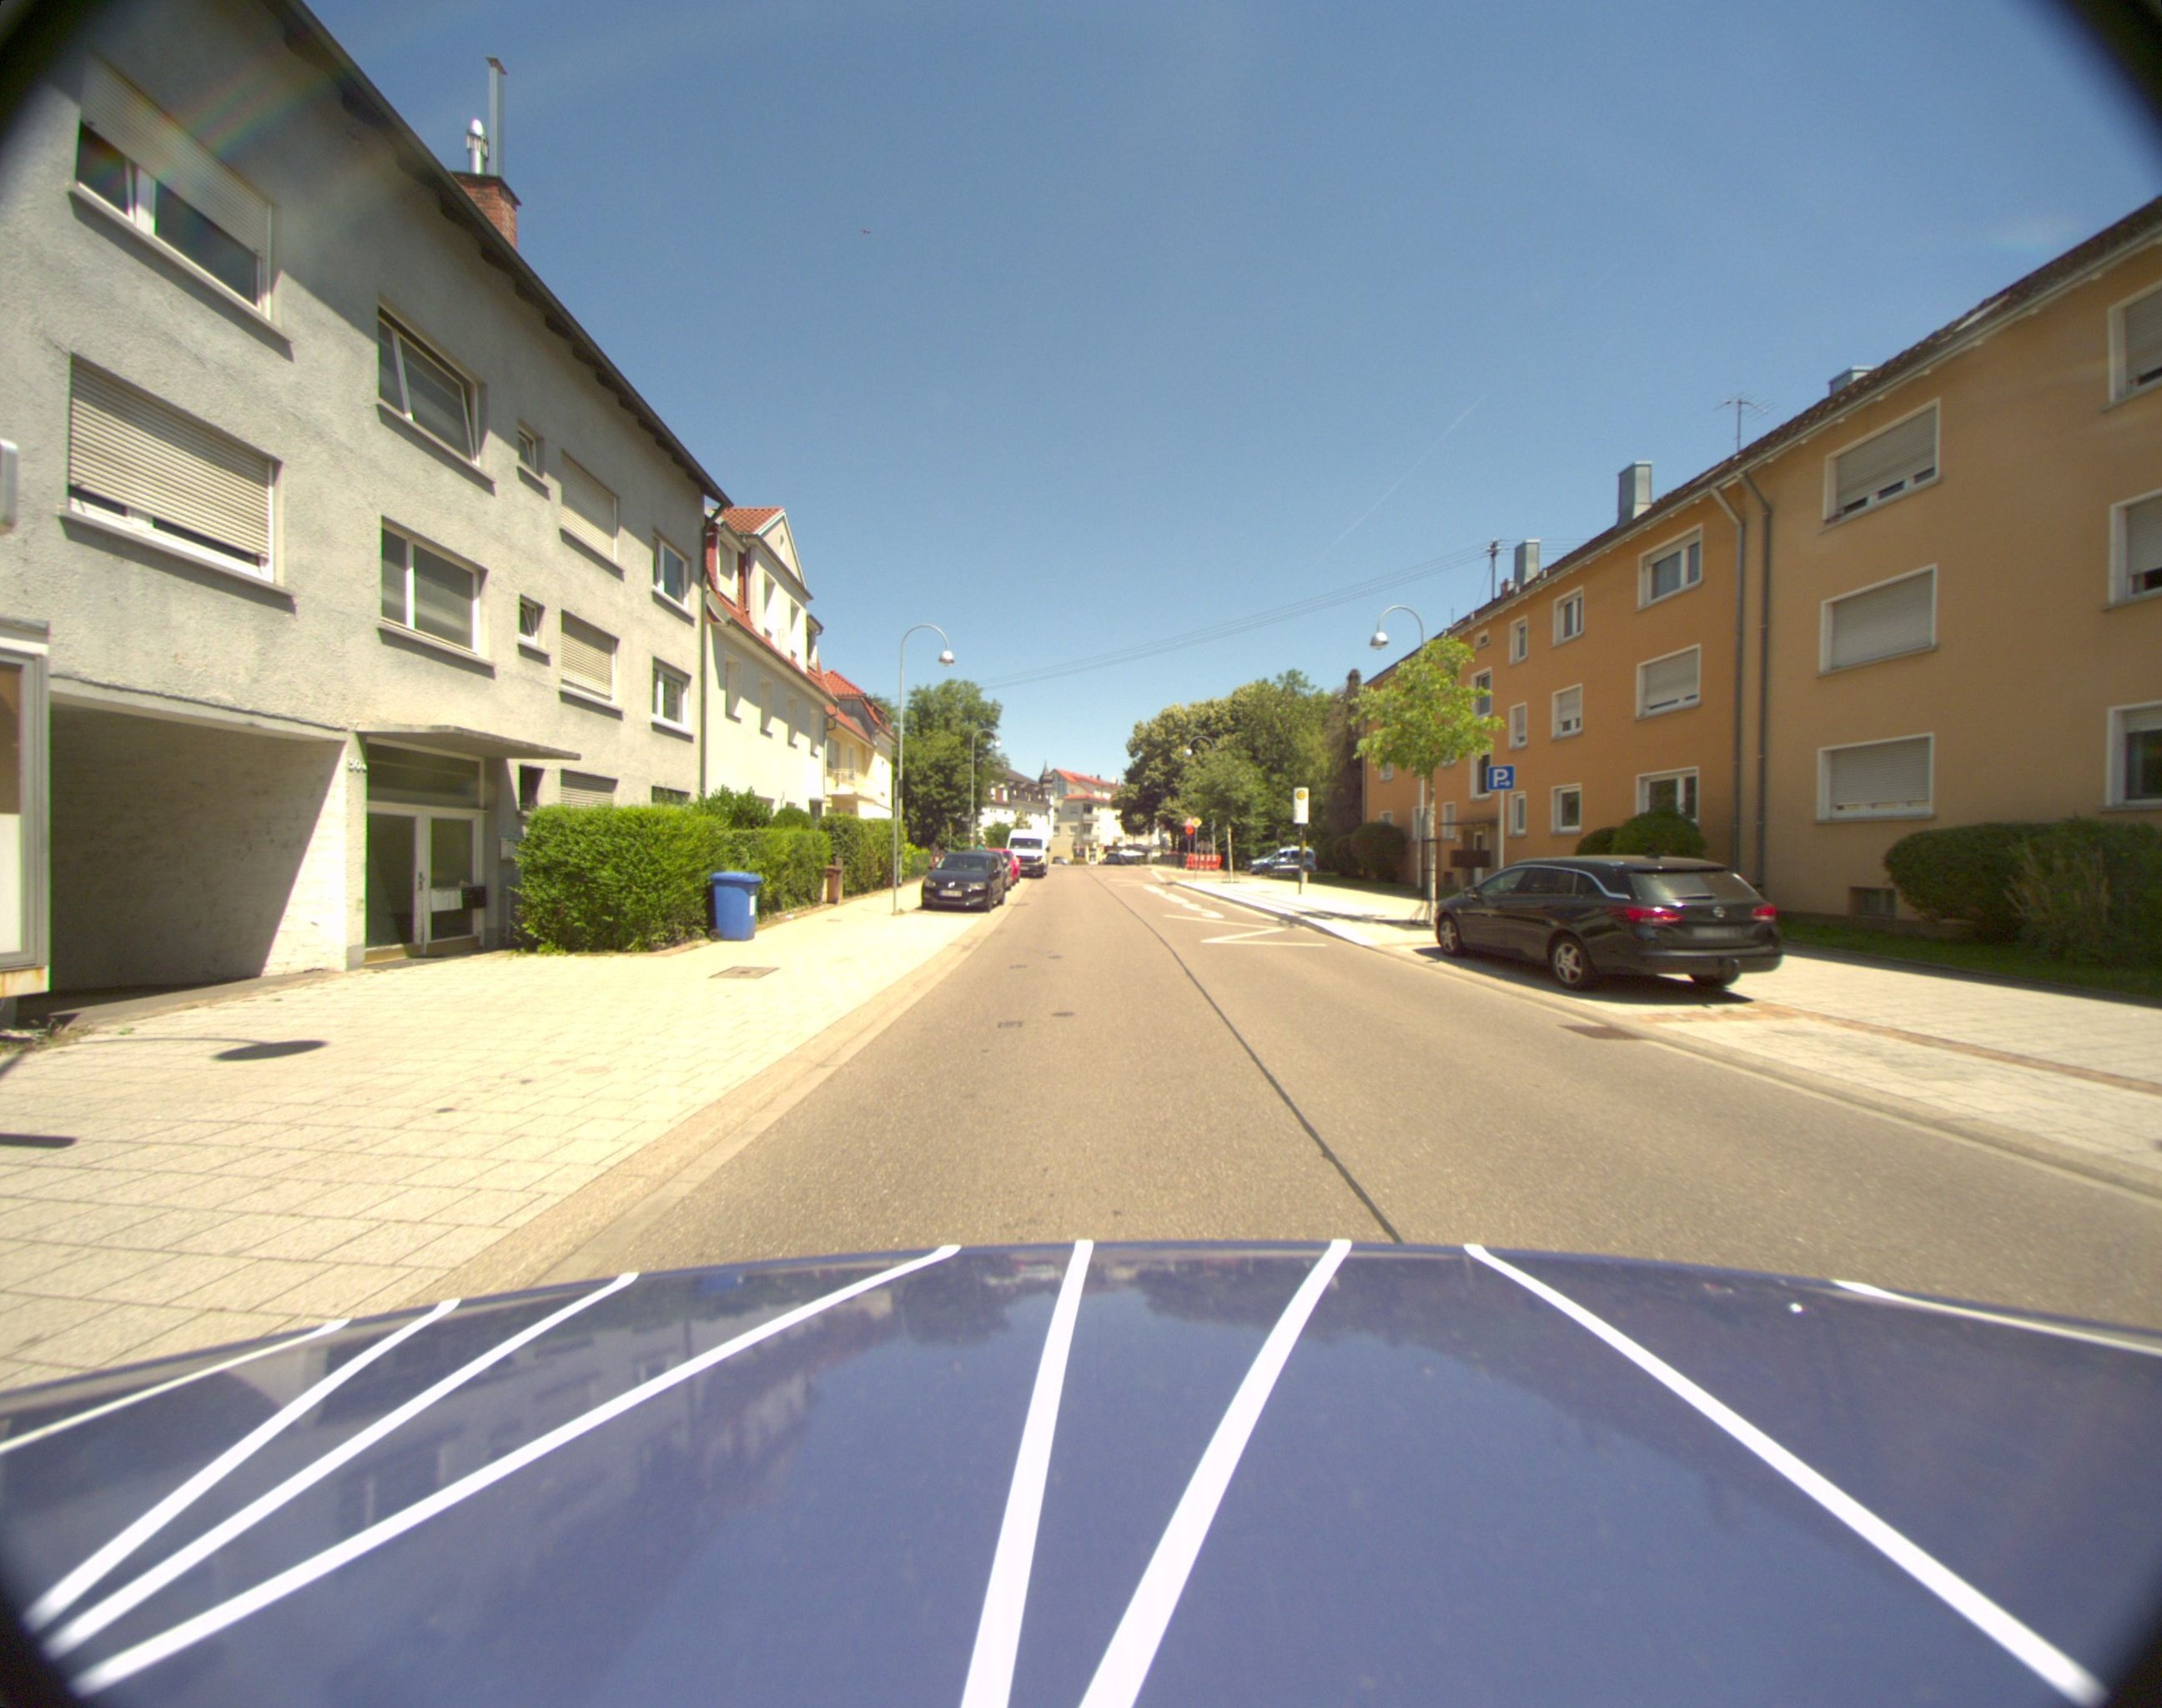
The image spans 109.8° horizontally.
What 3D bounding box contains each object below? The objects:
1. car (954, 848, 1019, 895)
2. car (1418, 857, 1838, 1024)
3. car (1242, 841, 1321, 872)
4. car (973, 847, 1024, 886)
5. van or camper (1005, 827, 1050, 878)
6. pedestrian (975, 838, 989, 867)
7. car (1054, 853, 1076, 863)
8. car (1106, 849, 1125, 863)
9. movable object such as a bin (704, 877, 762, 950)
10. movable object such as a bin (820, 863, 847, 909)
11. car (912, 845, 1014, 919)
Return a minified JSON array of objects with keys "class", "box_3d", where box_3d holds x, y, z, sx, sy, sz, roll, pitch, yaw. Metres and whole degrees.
[{"class":"car","box_3d":[-3.331,0.558,27.515,1.808,1.466,4.719,3,1,-1]},{"class":"car","box_3d":[6.264,0.834,9.557,1.862,1.498,4.561,-2,0,-2]},{"class":"car","box_3d":[12.504,0.155,47.491,4.439,1.863,1.817,1,1,-11]},{"class":"car","box_3d":[-3.429,0.475,32.146,1.808,1.521,4.149,0,1,-1]},{"class":"van or camper","box_3d":[-2.748,-0.129,40.594,2.114,2.453,6.173,2,1,-2]},{"class":"pedestrian","box_3d":[-5.981,-0.083,45.913,0.522,1.696,0.802,3,0,-21]},{"class":"car","box_3d":[-2.468,0.624,117.622,3.038,1.444,1.570,-2,0,21]},{"class":"car","box_3d":[3.790,0.211,85.201,1.998,1.498,4.288,0,0,1]},{"class":"movable object such as a bin","box_3d":[-5.421,0.912,11.856,0.595,1.070,0.647,1,1,-1]},{"class":"movable object such as a bin","box_3d":[-6.050,0.776,18.606,0.488,1.097,0.555,0,1,-1]},{"class":"car","box_3d":[-2.894,0.641,19.524,1.732,1.623,4.001,3,0,3]}]
